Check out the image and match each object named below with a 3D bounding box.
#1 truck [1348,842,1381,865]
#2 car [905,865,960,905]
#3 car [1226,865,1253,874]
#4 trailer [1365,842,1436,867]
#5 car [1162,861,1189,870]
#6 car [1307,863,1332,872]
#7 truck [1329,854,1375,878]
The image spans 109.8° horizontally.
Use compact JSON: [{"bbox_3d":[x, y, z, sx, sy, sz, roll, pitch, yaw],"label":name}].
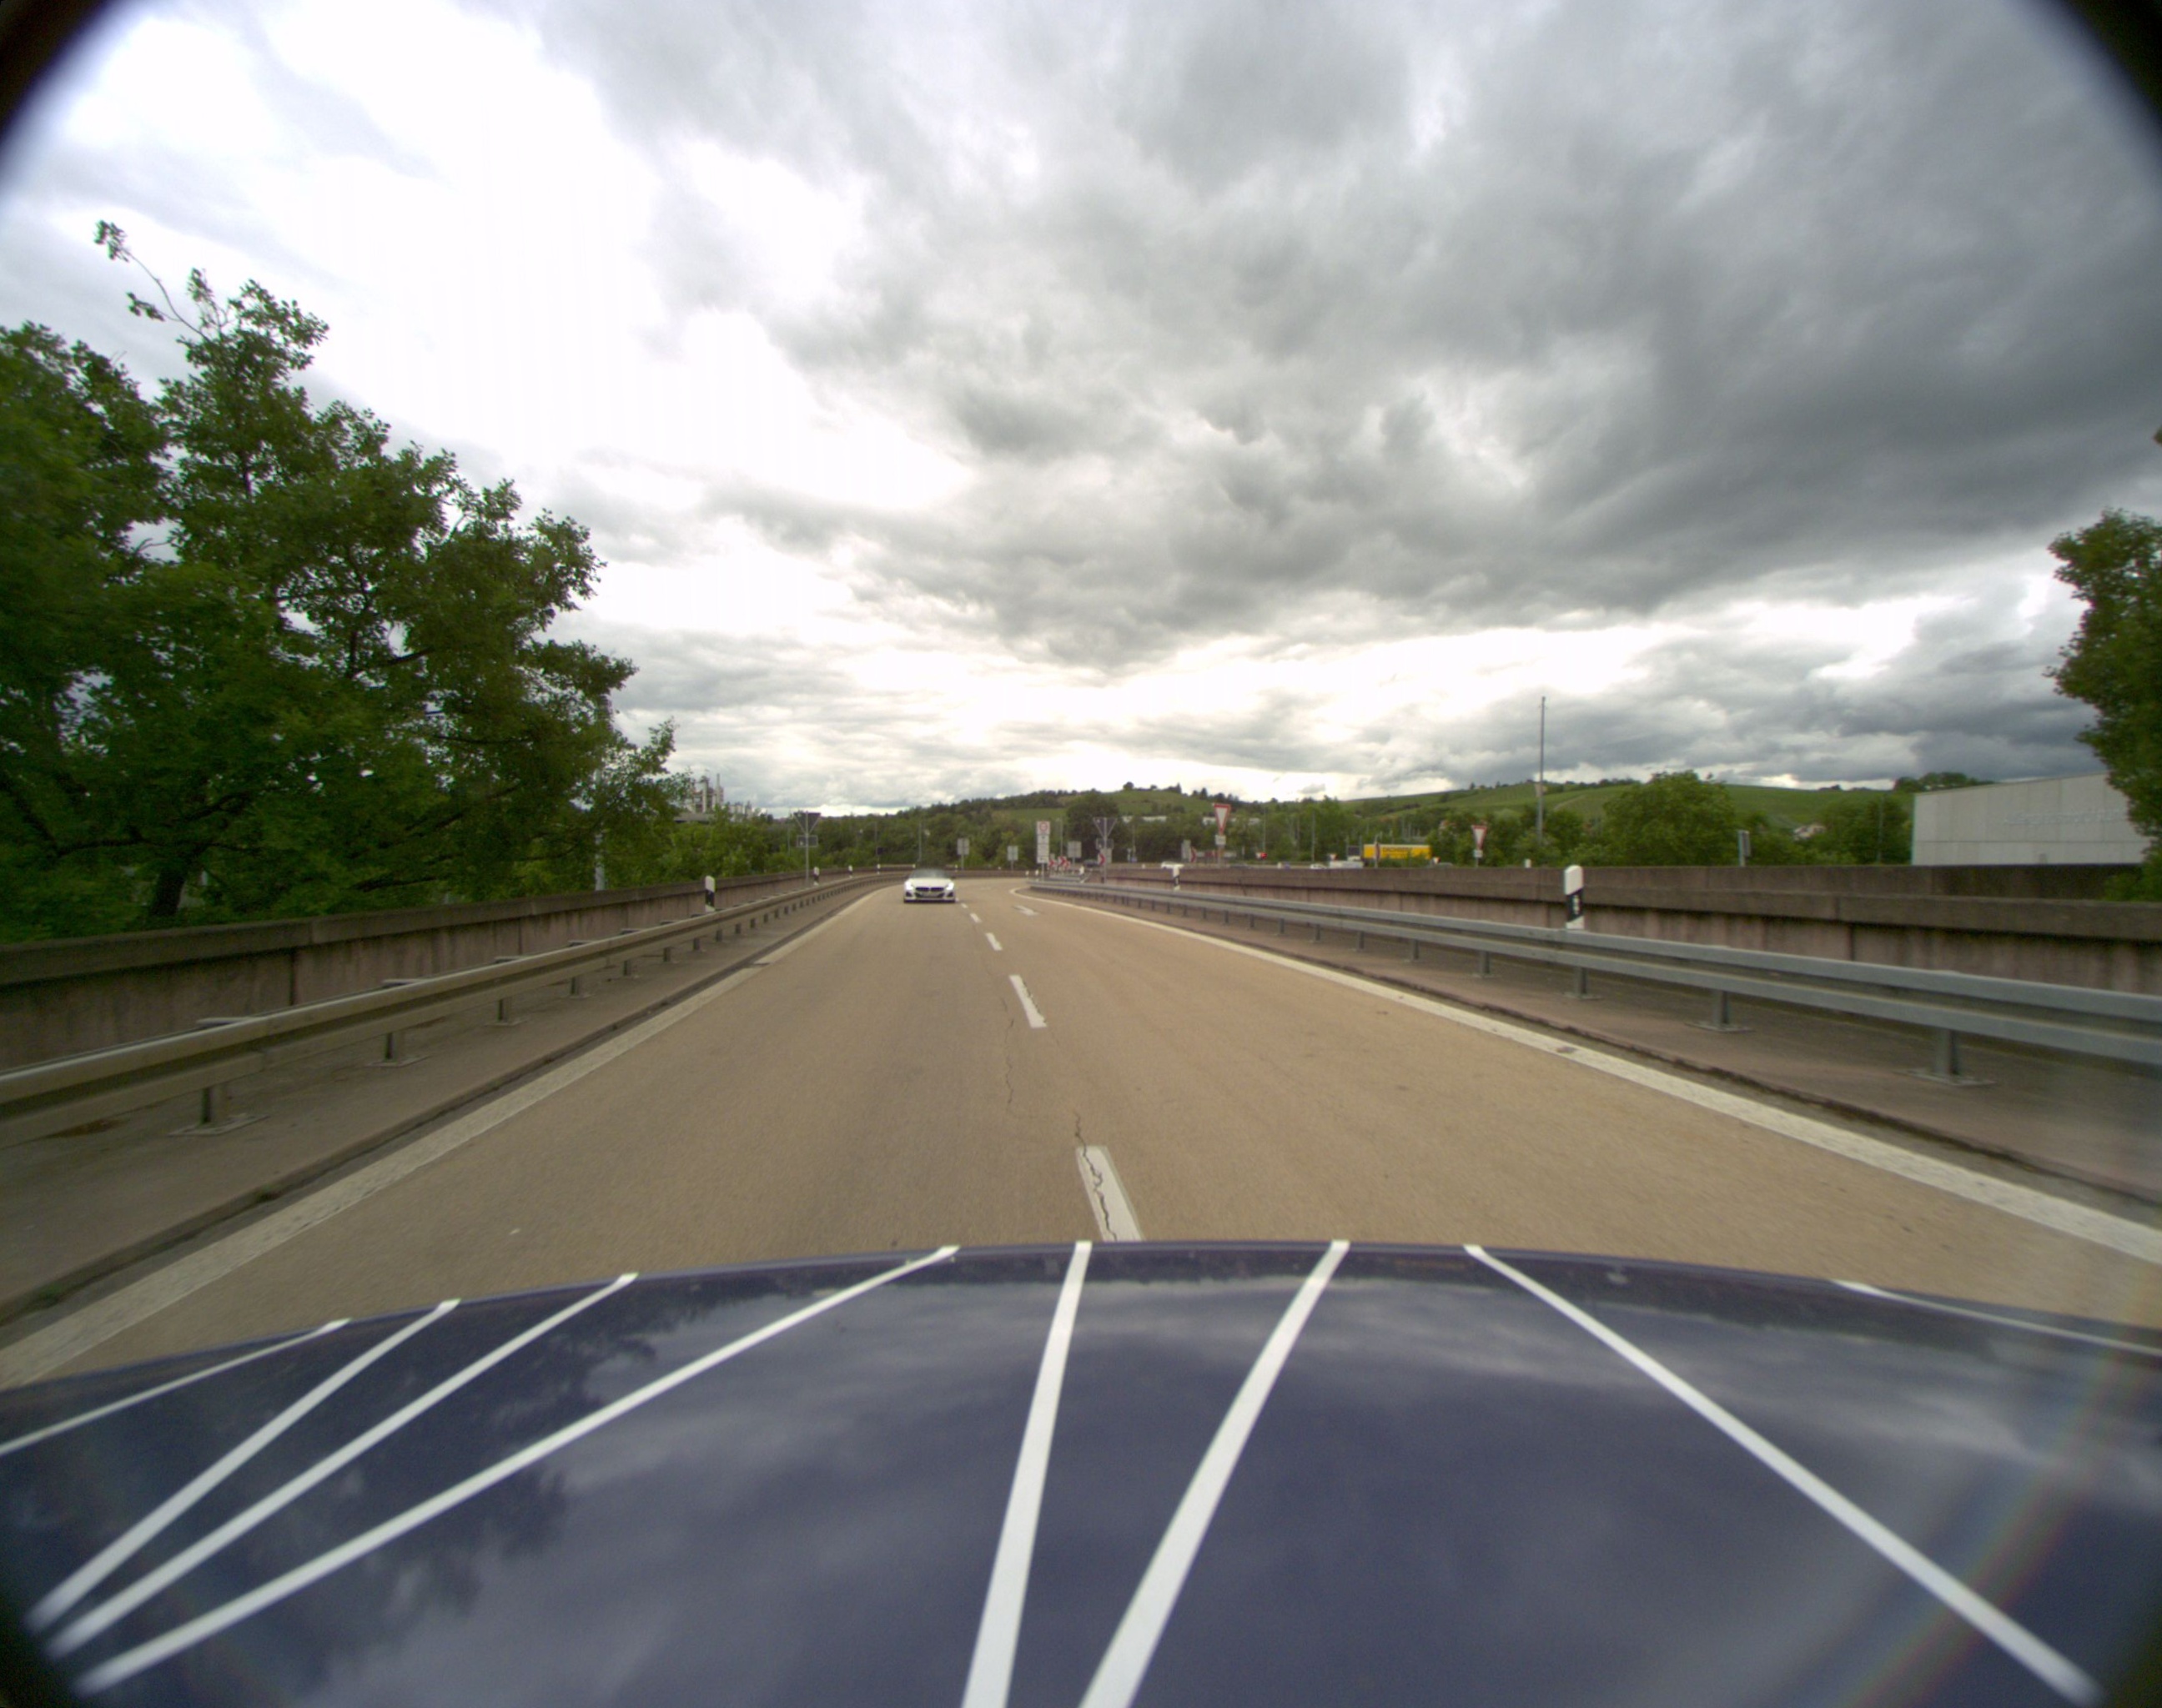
[{"bbox_3d":[52.704,-0.073,141.254,5.087,4.181,2.640,1,2,37],"label":"truck"},{"bbox_3d":[-5.645,1.127,29.396,1.864,1.337,4.821,0,0,-9],"label":"car"},{"bbox_3d":[28.687,2.757,137.262,4.282,1.548,1.951,0,2,35],"label":"car"},{"bbox_3d":[57.716,0.010,137.541,11.621,4.181,2.640,1,2,37],"label":"trailer"},{"bbox_3d":[18.065,2.193,145.736,4.702,1.552,1.881,0,2,32],"label":"car"},{"bbox_3d":[40.306,2.254,128.594,3.738,1.366,1.631,0,2,36],"label":"car"},{"bbox_3d":[38.326,1.676,107.409,7.008,3.243,2.347,1,-2,-34],"label":"truck"}]
